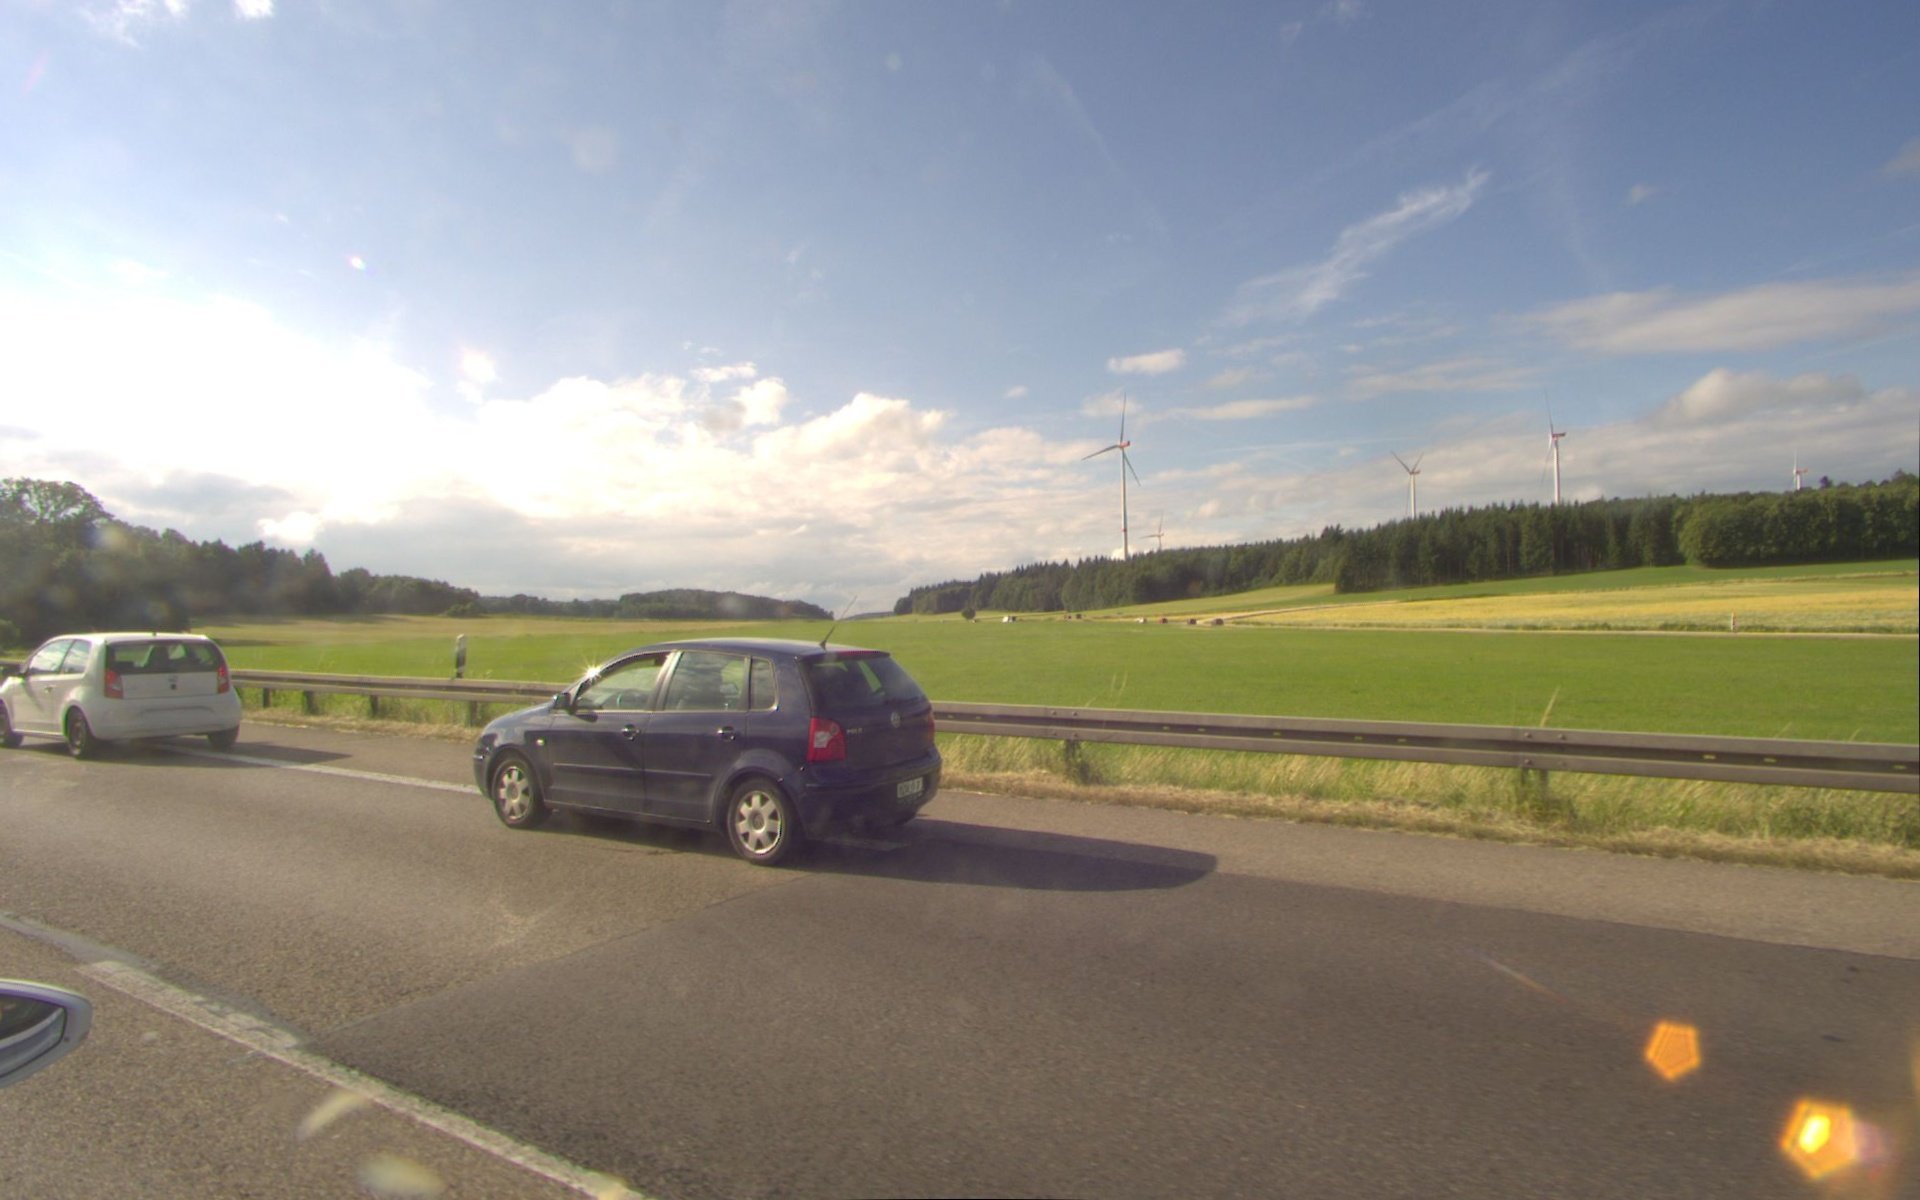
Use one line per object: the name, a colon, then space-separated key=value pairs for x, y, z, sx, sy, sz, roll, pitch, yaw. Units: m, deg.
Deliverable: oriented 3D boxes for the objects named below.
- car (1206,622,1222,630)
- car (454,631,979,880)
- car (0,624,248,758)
car: x=52.823 y=5.438 z=208.239 sx=1.803 sy=1.505 sz=4.221 roll=0 pitch=-2 yaw=-5
car: x=-1.887 y=0.986 z=7.583 sx=3.717 sy=1.464 sz=1.709 roll=-1 pitch=-2 yaw=29
car: x=-10.887 y=1.079 z=12.899 sx=3.327 sy=1.514 sz=1.547 roll=0 pitch=-1 yaw=30
